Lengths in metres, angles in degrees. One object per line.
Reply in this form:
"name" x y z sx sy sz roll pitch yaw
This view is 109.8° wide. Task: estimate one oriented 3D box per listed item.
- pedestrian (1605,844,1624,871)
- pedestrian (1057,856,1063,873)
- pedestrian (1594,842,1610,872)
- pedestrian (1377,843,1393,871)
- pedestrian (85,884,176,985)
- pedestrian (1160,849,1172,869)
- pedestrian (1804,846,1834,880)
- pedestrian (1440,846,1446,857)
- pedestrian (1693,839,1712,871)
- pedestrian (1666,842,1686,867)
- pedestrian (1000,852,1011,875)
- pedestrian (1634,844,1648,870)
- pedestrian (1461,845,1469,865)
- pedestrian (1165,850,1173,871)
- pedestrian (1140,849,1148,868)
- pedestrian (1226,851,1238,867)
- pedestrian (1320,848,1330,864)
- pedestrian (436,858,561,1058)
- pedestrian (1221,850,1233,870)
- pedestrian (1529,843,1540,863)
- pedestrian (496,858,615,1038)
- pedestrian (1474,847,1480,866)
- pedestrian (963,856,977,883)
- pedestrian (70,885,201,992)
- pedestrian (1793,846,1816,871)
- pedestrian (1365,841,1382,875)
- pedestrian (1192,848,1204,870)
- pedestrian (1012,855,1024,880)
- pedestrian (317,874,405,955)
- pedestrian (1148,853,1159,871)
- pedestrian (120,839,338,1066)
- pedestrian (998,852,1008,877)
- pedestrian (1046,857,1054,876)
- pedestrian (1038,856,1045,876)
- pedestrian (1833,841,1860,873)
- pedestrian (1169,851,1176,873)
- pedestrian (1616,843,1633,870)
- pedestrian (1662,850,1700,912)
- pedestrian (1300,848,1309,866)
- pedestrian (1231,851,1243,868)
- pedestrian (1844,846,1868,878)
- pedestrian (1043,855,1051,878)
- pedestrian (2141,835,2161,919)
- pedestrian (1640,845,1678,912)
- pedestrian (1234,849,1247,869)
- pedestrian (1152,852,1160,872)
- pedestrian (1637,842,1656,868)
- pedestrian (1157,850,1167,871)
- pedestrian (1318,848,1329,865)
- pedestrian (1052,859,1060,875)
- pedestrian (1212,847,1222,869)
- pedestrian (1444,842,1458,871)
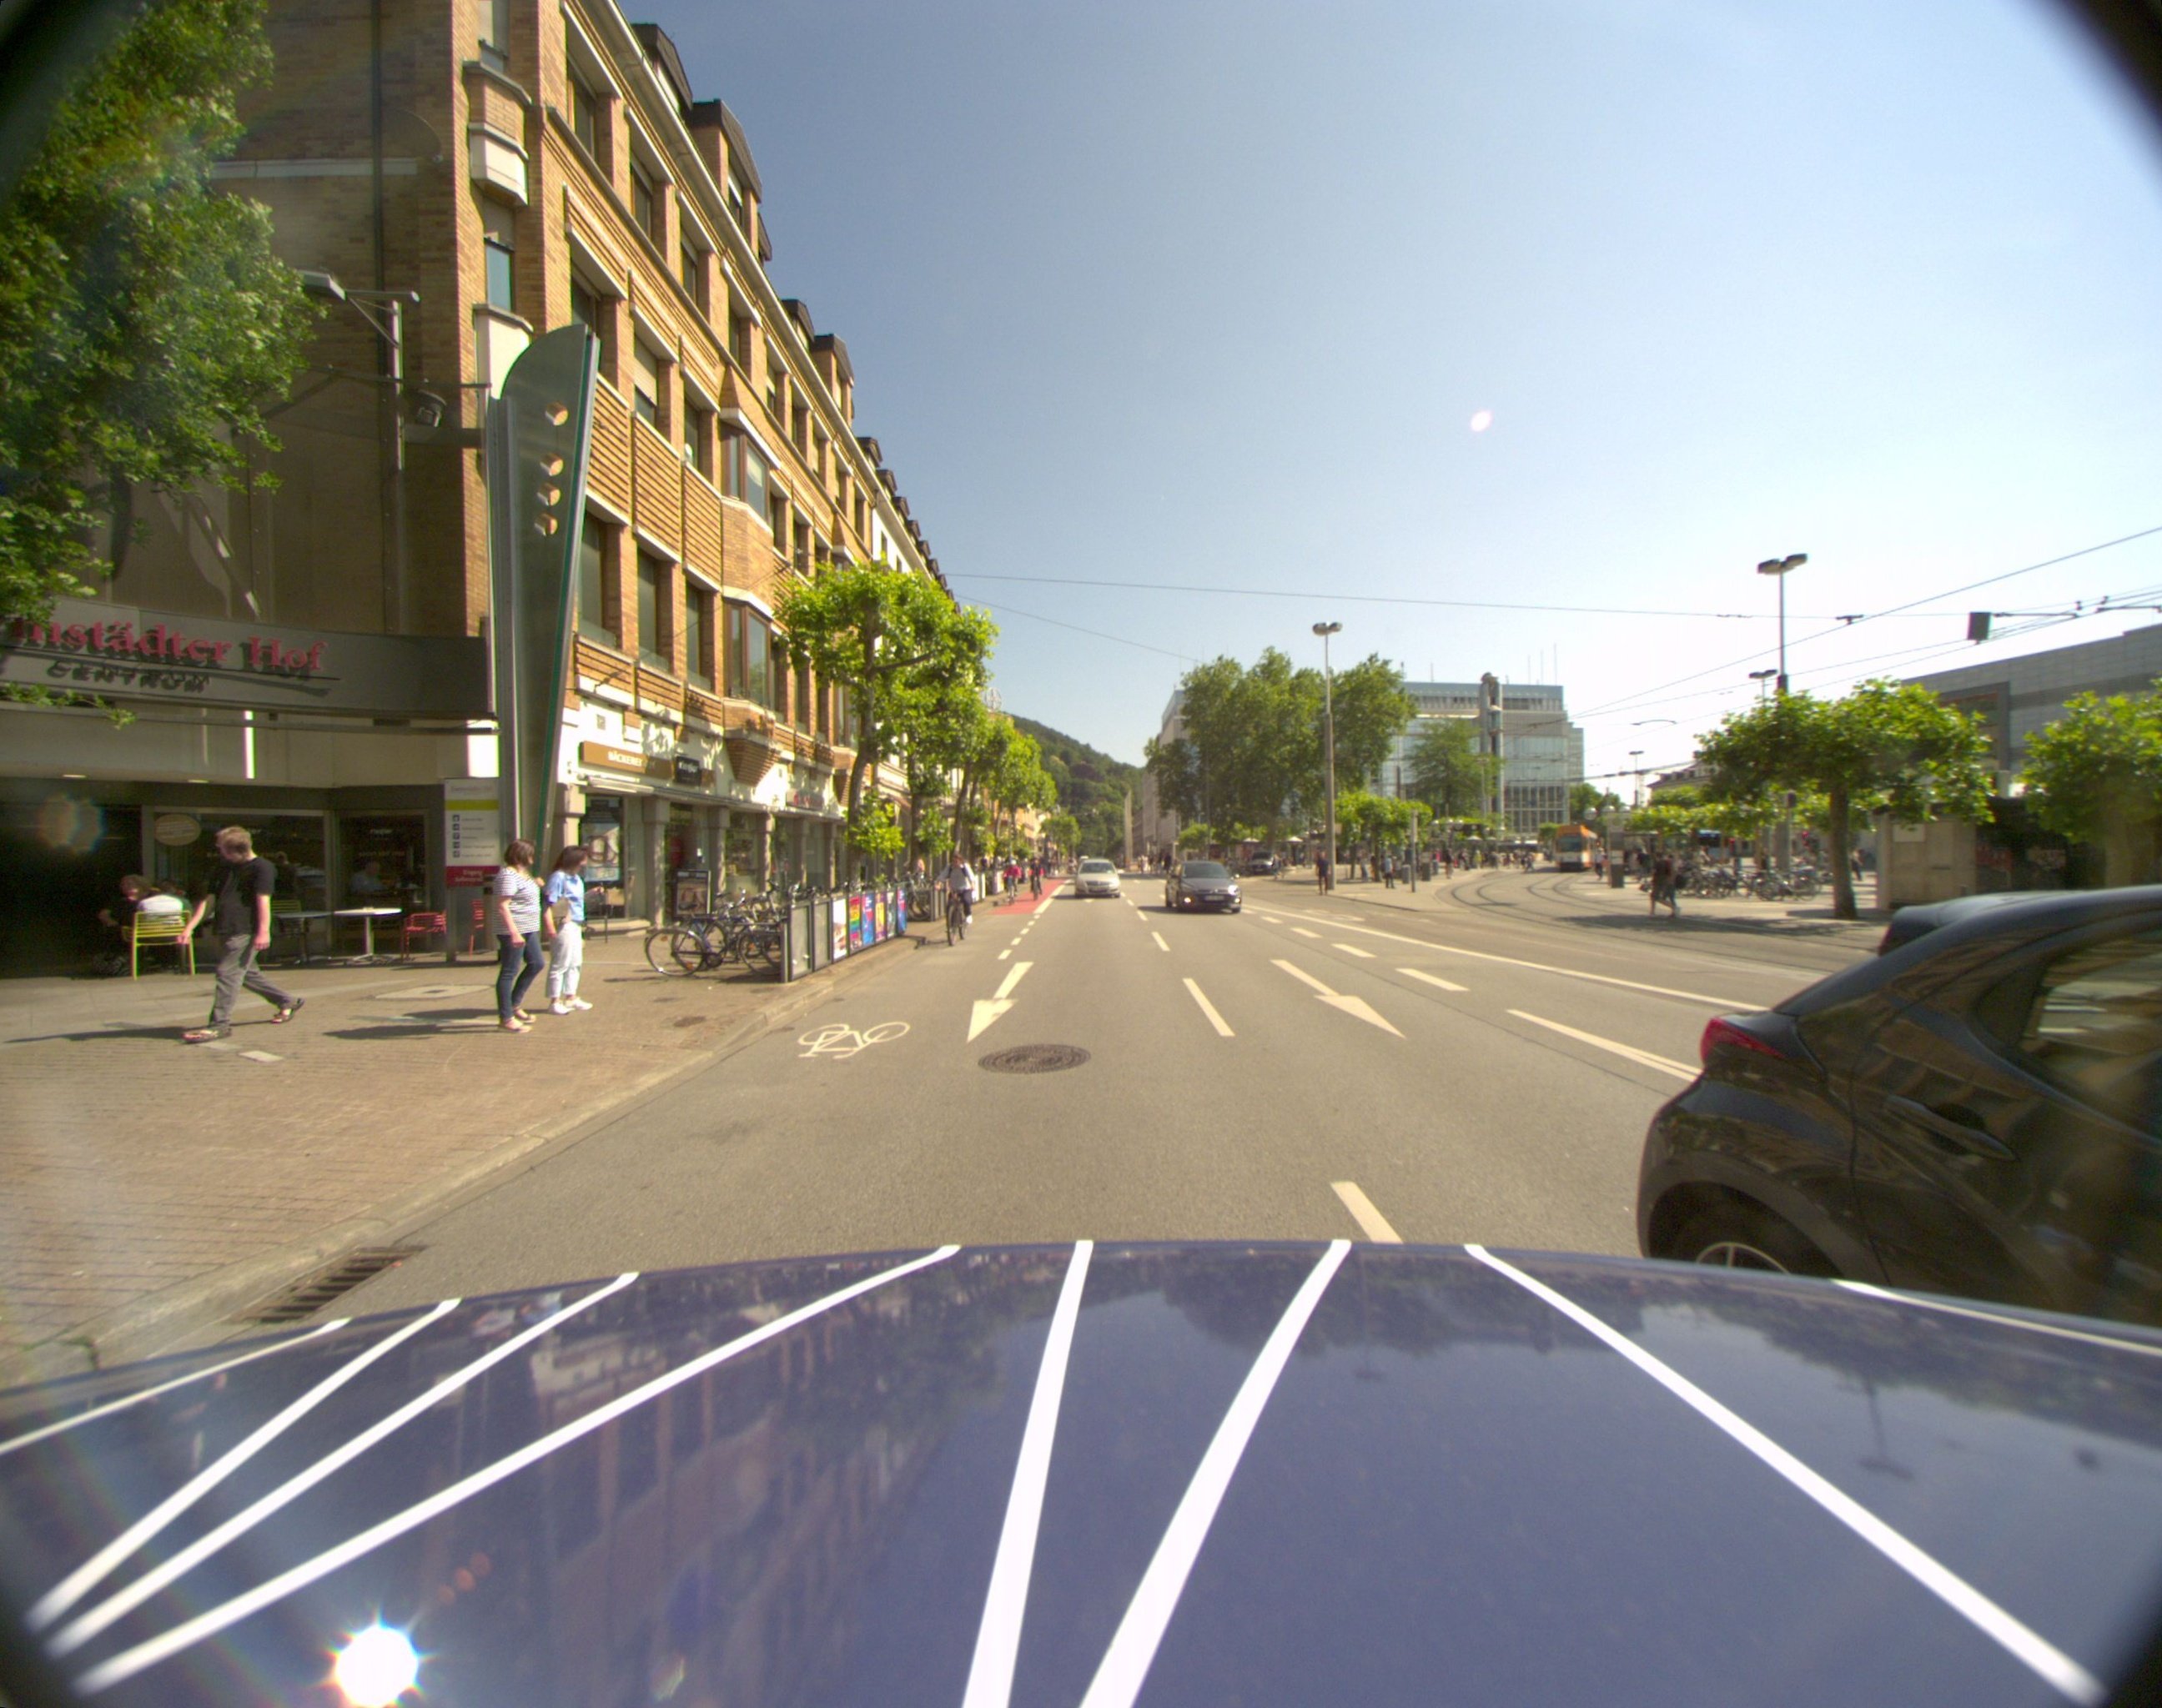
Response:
"pedestrian" 28.768 0.190 40.965 0.626 1.457 0.552 2 0 -21
"pedestrian" -2.263 1.146 82.514 0.650 1.770 0.621 1 2 -6
"pedestrian" 28.541 0.165 41.631 0.473 1.656 0.521 2 0 -21
"pedestrian" 19.573 0.220 48.911 0.626 1.783 0.678 2 0 -41
"pedestrian" -12.733 1.051 10.200 0.791 1.247 0.641 -2 1 44
"pedestrian" 7.014 0.414 62.766 0.630 1.639 0.753 -2 1 27
"pedestrian" 32.130 0.376 33.083 0.679 1.457 0.625 1 0 7
"pedestrian" 50.878 -0.379 106.920 0.554 1.464 0.759 -2 1 37
"pedestrian" 33.539 0.049 41.002 0.561 1.720 0.588 2 0 -21
"pedestrian" 35.296 0.035 45.088 0.626 1.492 0.679 2 0 -21
"pedestrian" -6.146 0.766 61.552 0.721 1.772 0.776 -3 1 -1
"pedestrian" 37.182 0.172 50.444 0.559 1.708 0.465 2 0 -21
"pedestrian" 30.009 0.101 59.411 0.474 1.540 0.493 1 0 26
"pedestrian" 7.618 0.560 65.651 0.595 1.835 0.738 0 1 -1
"pedestrian" 6.533 0.456 78.370 0.639 1.903 0.733 -3 1 -1
"pedestrian" 12.878 0.430 64.939 0.752 1.399 0.782 -3 1 -9
"pedestrian" 28.004 0.204 87.069 0.752 1.737 0.782 -3 1 -9
"pedestrian" -4.959 0.851 6.507 0.601 1.616 0.643 2 0 -11
"pedestrian" 12.920 0.539 67.209 0.750 1.737 0.784 -2 1 27
"pedestrian" 34.146 -0.066 57.211 0.477 1.540 0.451 2 0 -26
"pedestrian" -4.981 0.852 7.250 0.697 1.617 0.701 0 1 -11
"pedestrian" 32.557 0.180 62.411 0.385 1.540 0.412 1 0 26
"pedestrian" -7.011 0.964 48.088 0.658 1.686 0.676 -3 1 2
"pedestrian" -12.034 1.046 9.701 0.640 1.247 0.792 -3 1 -12
"pedestrian" 45.135 0.301 47.401 0.681 1.540 0.846 2 0 -26
"pedestrian" 17.517 0.224 45.522 0.693 1.996 0.564 -1 1 -8
"pedestrian" 9.169 0.381 59.525 0.643 1.681 0.642 -3 1 -12
"pedestrian" -3.967 0.829 48.040 0.606 1.529 0.667 -3 1 -1
"pedestrian" -11.846 0.983 12.519 0.792 1.247 0.640 -3 1 5
"pedestrian" 6.946 0.750 72.550 0.876 1.737 0.733 -3 1 -1
"pedestrian" -7.160 0.769 6.446 0.669 1.771 0.985 0 1 5
"pedestrian" -5.882 0.779 57.292 0.635 1.782 0.776 -3 1 -1
"pedestrian" -2.886 1.165 70.995 0.605 1.726 0.647 -3 2 -15
"pedestrian" -3.411 1.043 66.204 0.578 1.774 0.699 0 1 -2
"pedestrian" 36.559 0.143 36.307 0.681 1.457 0.624 2 0 -15
"pedestrian" 7.652 0.653 63.471 0.517 1.825 0.716 -3 1 8
"pedestrian" 35.788 0.164 50.040 0.626 1.784 0.679 2 0 -21
"pedestrian" 15.917 0.701 20.168 0.525 1.600 0.627 1 0 10
"pedestrian" 22.320 0.312 75.861 0.638 1.683 0.753 -3 1 23
"pedestrian" 13.254 0.475 64.388 0.752 1.416 0.673 -3 1 -9
"pedestrian" 36.206 0.379 35.514 0.526 1.457 0.588 2 0 -19
"pedestrian" -2.817 1.038 62.675 0.578 1.835 0.717 -3 1 -2
"pedestrian" 20.968 0.443 14.595 0.577 1.600 0.602 2 0 -28
"pedestrian" 15.242 0.638 20.042 0.527 1.723 0.586 2 0 -29
"pedestrian" 13.385 0.416 63.642 0.752 1.587 0.782 -3 1 -9
"pedestrian" 6.753 0.711 68.118 0.612 1.737 0.752 -2 1 -1
"pedestrian" 34.630 0.064 46.504 0.626 1.588 0.679 2 0 -21
"pedestrian" 6.884 0.525 64.557 0.537 1.773 0.745 -2 1 36
"pedestrian" 24.379 0.245 76.325 0.752 1.737 0.782 -3 1 -9
"pedestrian" -2.375 1.201 72.251 0.672 1.488 0.637 -3 1 -13
"pedestrian" 10.888 0.353 60.768 0.516 1.732 0.518 -3 1 -12
"pedestrian" 23.239 0.162 47.727 0.577 1.805 0.605 1 0 0
